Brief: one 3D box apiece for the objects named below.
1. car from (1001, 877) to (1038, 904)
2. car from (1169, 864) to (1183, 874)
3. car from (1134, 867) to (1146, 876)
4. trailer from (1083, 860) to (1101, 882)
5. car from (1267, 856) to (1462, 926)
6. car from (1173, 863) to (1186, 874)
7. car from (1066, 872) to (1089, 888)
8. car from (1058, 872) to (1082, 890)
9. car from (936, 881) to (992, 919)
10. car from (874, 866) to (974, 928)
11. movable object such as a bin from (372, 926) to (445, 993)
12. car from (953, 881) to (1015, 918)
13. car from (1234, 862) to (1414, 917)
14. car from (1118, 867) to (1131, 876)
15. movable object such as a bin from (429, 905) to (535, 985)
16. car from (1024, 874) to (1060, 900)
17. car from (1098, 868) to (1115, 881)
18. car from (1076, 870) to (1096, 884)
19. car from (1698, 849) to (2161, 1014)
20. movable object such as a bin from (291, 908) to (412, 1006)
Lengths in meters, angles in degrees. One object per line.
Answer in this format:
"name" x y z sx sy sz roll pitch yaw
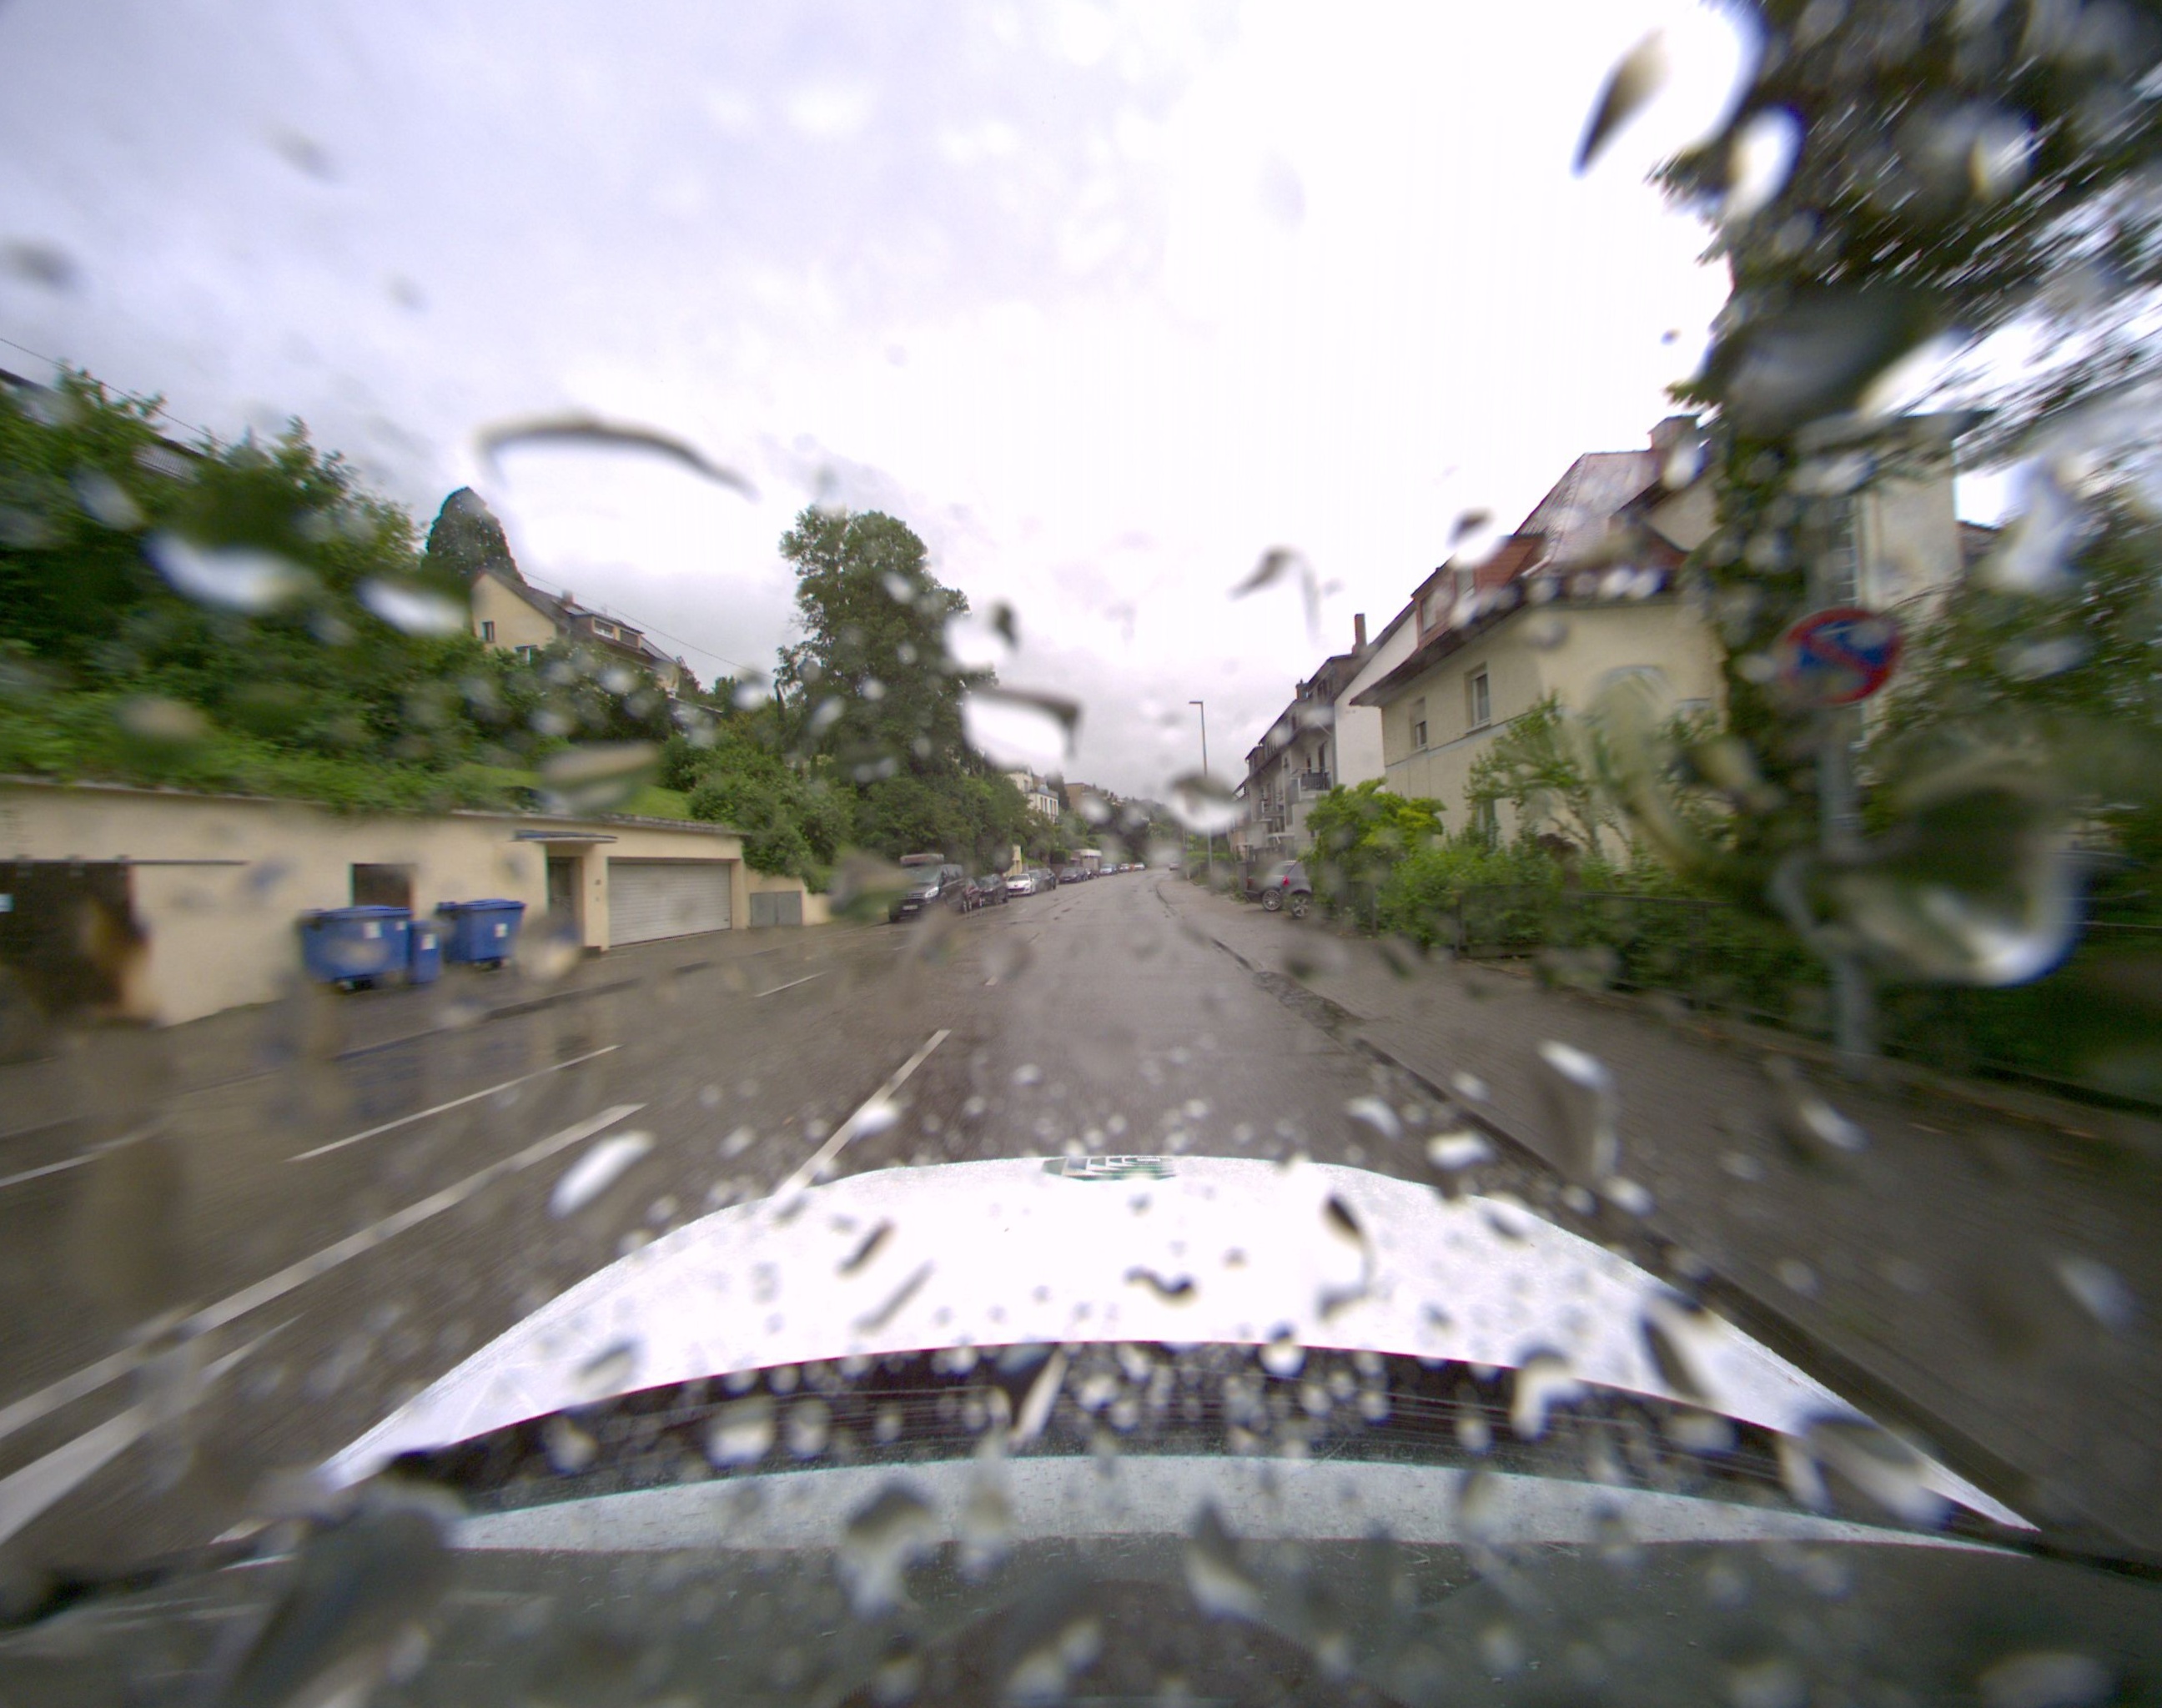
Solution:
"car" -3.845 2.256 51.540 1.709 1.365 4.086 -5 0 3
"car" 15.637 2.419 133.605 1.777 1.460 4.322 -3 -1 12
"car" 11.077 3.245 153.284 1.745 1.498 4.231 -5 -2 9
"trailer" 1.331 2.019 97.574 1.527 2.399 3.081 -5 -1 10
"car" 6.666 0.893 19.298 3.948 1.457 1.783 -4 -1 36
"car" 16.846 2.442 139.484 1.773 1.790 4.375 -3 -1 12
"car" -0.357 2.657 85.336 1.776 1.415 4.225 -5 -1 7
"car" -1.035 2.579 79.530 1.777 1.455 4.762 -6 -1 5
"car" -5.045 1.958 35.492 1.558 1.364 3.910 -5 -1 3
"car" -5.614 1.494 29.923 2.149 1.919 5.329 -4 -1 4
"movable object such as a bin" -11.400 1.783 13.821 0.732 1.042 0.608 -2 -1 6
"car" -4.725 2.203 40.365 1.899 1.480 4.762 -6 -2 5
"car" 6.694 0.992 22.646 4.325 1.364 1.932 -4 -3 36
"car" 7.204 2.867 134.441 1.746 1.402 3.779 -6 -1 8
"movable object such as a bin" -11.154 1.665 15.222 0.816 1.314 1.404 -2 -1 6
"car" -2.926 2.486 61.632 1.865 1.626 4.600 -6 -1 6
"car" 3.478 2.807 111.763 1.746 1.539 3.765 -6 -1 8
"car" 0.574 2.586 91.974 1.799 1.349 3.783 -5 -1 7
"car" 10.094 0.853 9.728 3.968 1.580 1.823 3 -1 5
"movable object such as a bin" -11.478 1.597 12.855 0.816 1.382 1.136 -2 -1 6
